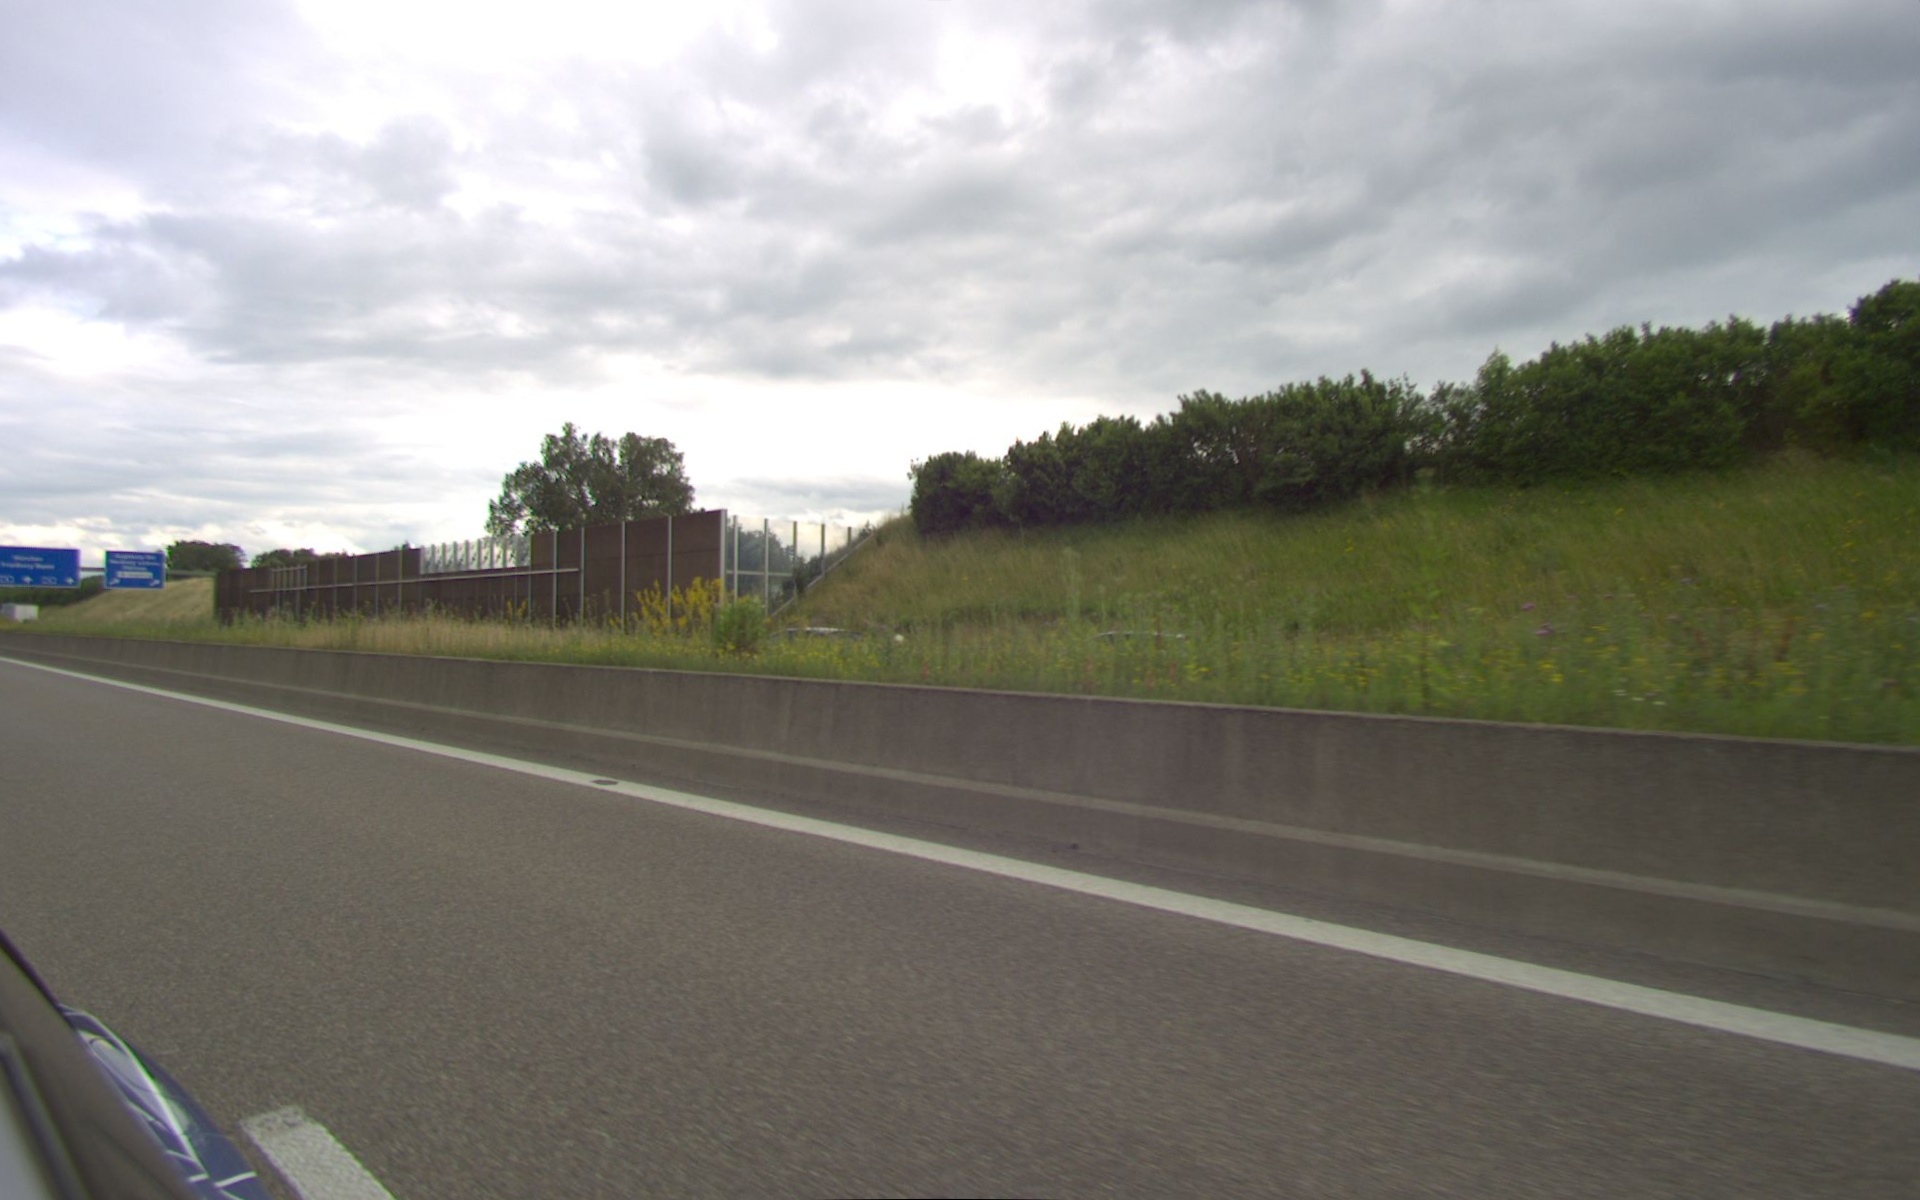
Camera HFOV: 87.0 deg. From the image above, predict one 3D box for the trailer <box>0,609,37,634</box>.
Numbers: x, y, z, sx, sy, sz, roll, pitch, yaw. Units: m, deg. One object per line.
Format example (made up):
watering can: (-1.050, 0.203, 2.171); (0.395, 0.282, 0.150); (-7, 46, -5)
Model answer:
trailer: (-133.538, 3.066, 143.272); (13.503, 3.402, 2.790); (-1, -2, 41)

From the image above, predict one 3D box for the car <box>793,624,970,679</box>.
car: (-1.769, 1.061, 21.869); (1.611, 1.047, 4.002); (-1, -1, -45)

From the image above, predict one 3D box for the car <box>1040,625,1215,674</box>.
car: (4.029, 1.171, 24.723); (3.999, 1.047, 1.612); (-2, -1, 42)
